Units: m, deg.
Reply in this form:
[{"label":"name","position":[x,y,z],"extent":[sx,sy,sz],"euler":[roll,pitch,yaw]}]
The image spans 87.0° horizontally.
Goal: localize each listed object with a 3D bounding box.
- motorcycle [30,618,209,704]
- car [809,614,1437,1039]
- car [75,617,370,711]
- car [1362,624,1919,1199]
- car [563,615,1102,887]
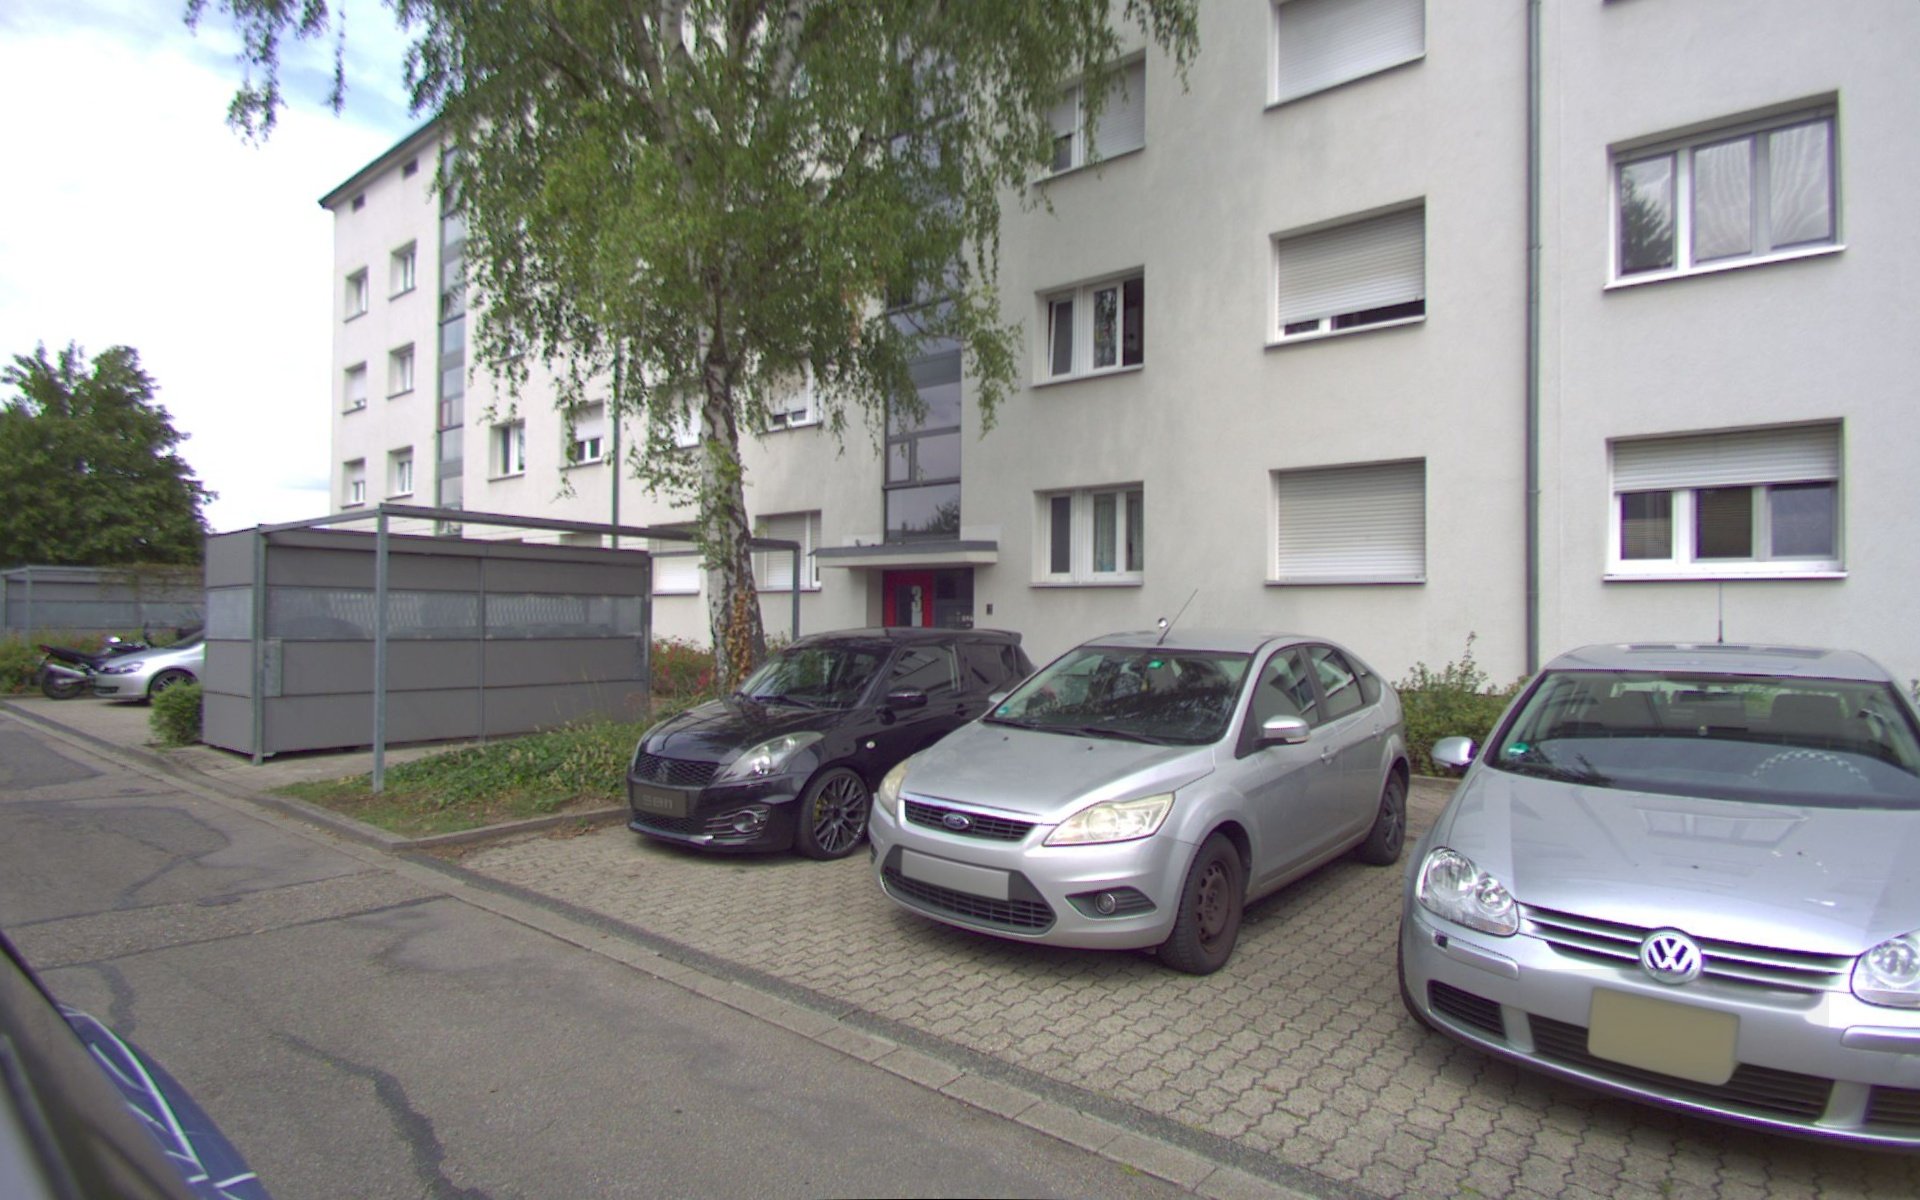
[{"label":"motorcycle","position":[-15.281,1.115,18.477],"extent":[0.713,1.475,2.353],"euler":[-1,-4,39]},{"label":"car","position":[1.242,0.888,5.768],"extent":[1.780,1.516,4.011],"euler":[-1,-2,39]},{"label":"car","position":[-13.235,1.147,18.343],"extent":[1.901,1.497,3.945],"euler":[-1,-4,41]},{"label":"car","position":[3.197,0.876,4.155],"extent":[1.780,1.475,4.011],"euler":[-1,-2,39]},{"label":"car","position":[-0.714,0.924,7.815],"extent":[1.780,1.516,4.011],"euler":[-1,-2,39]}]
